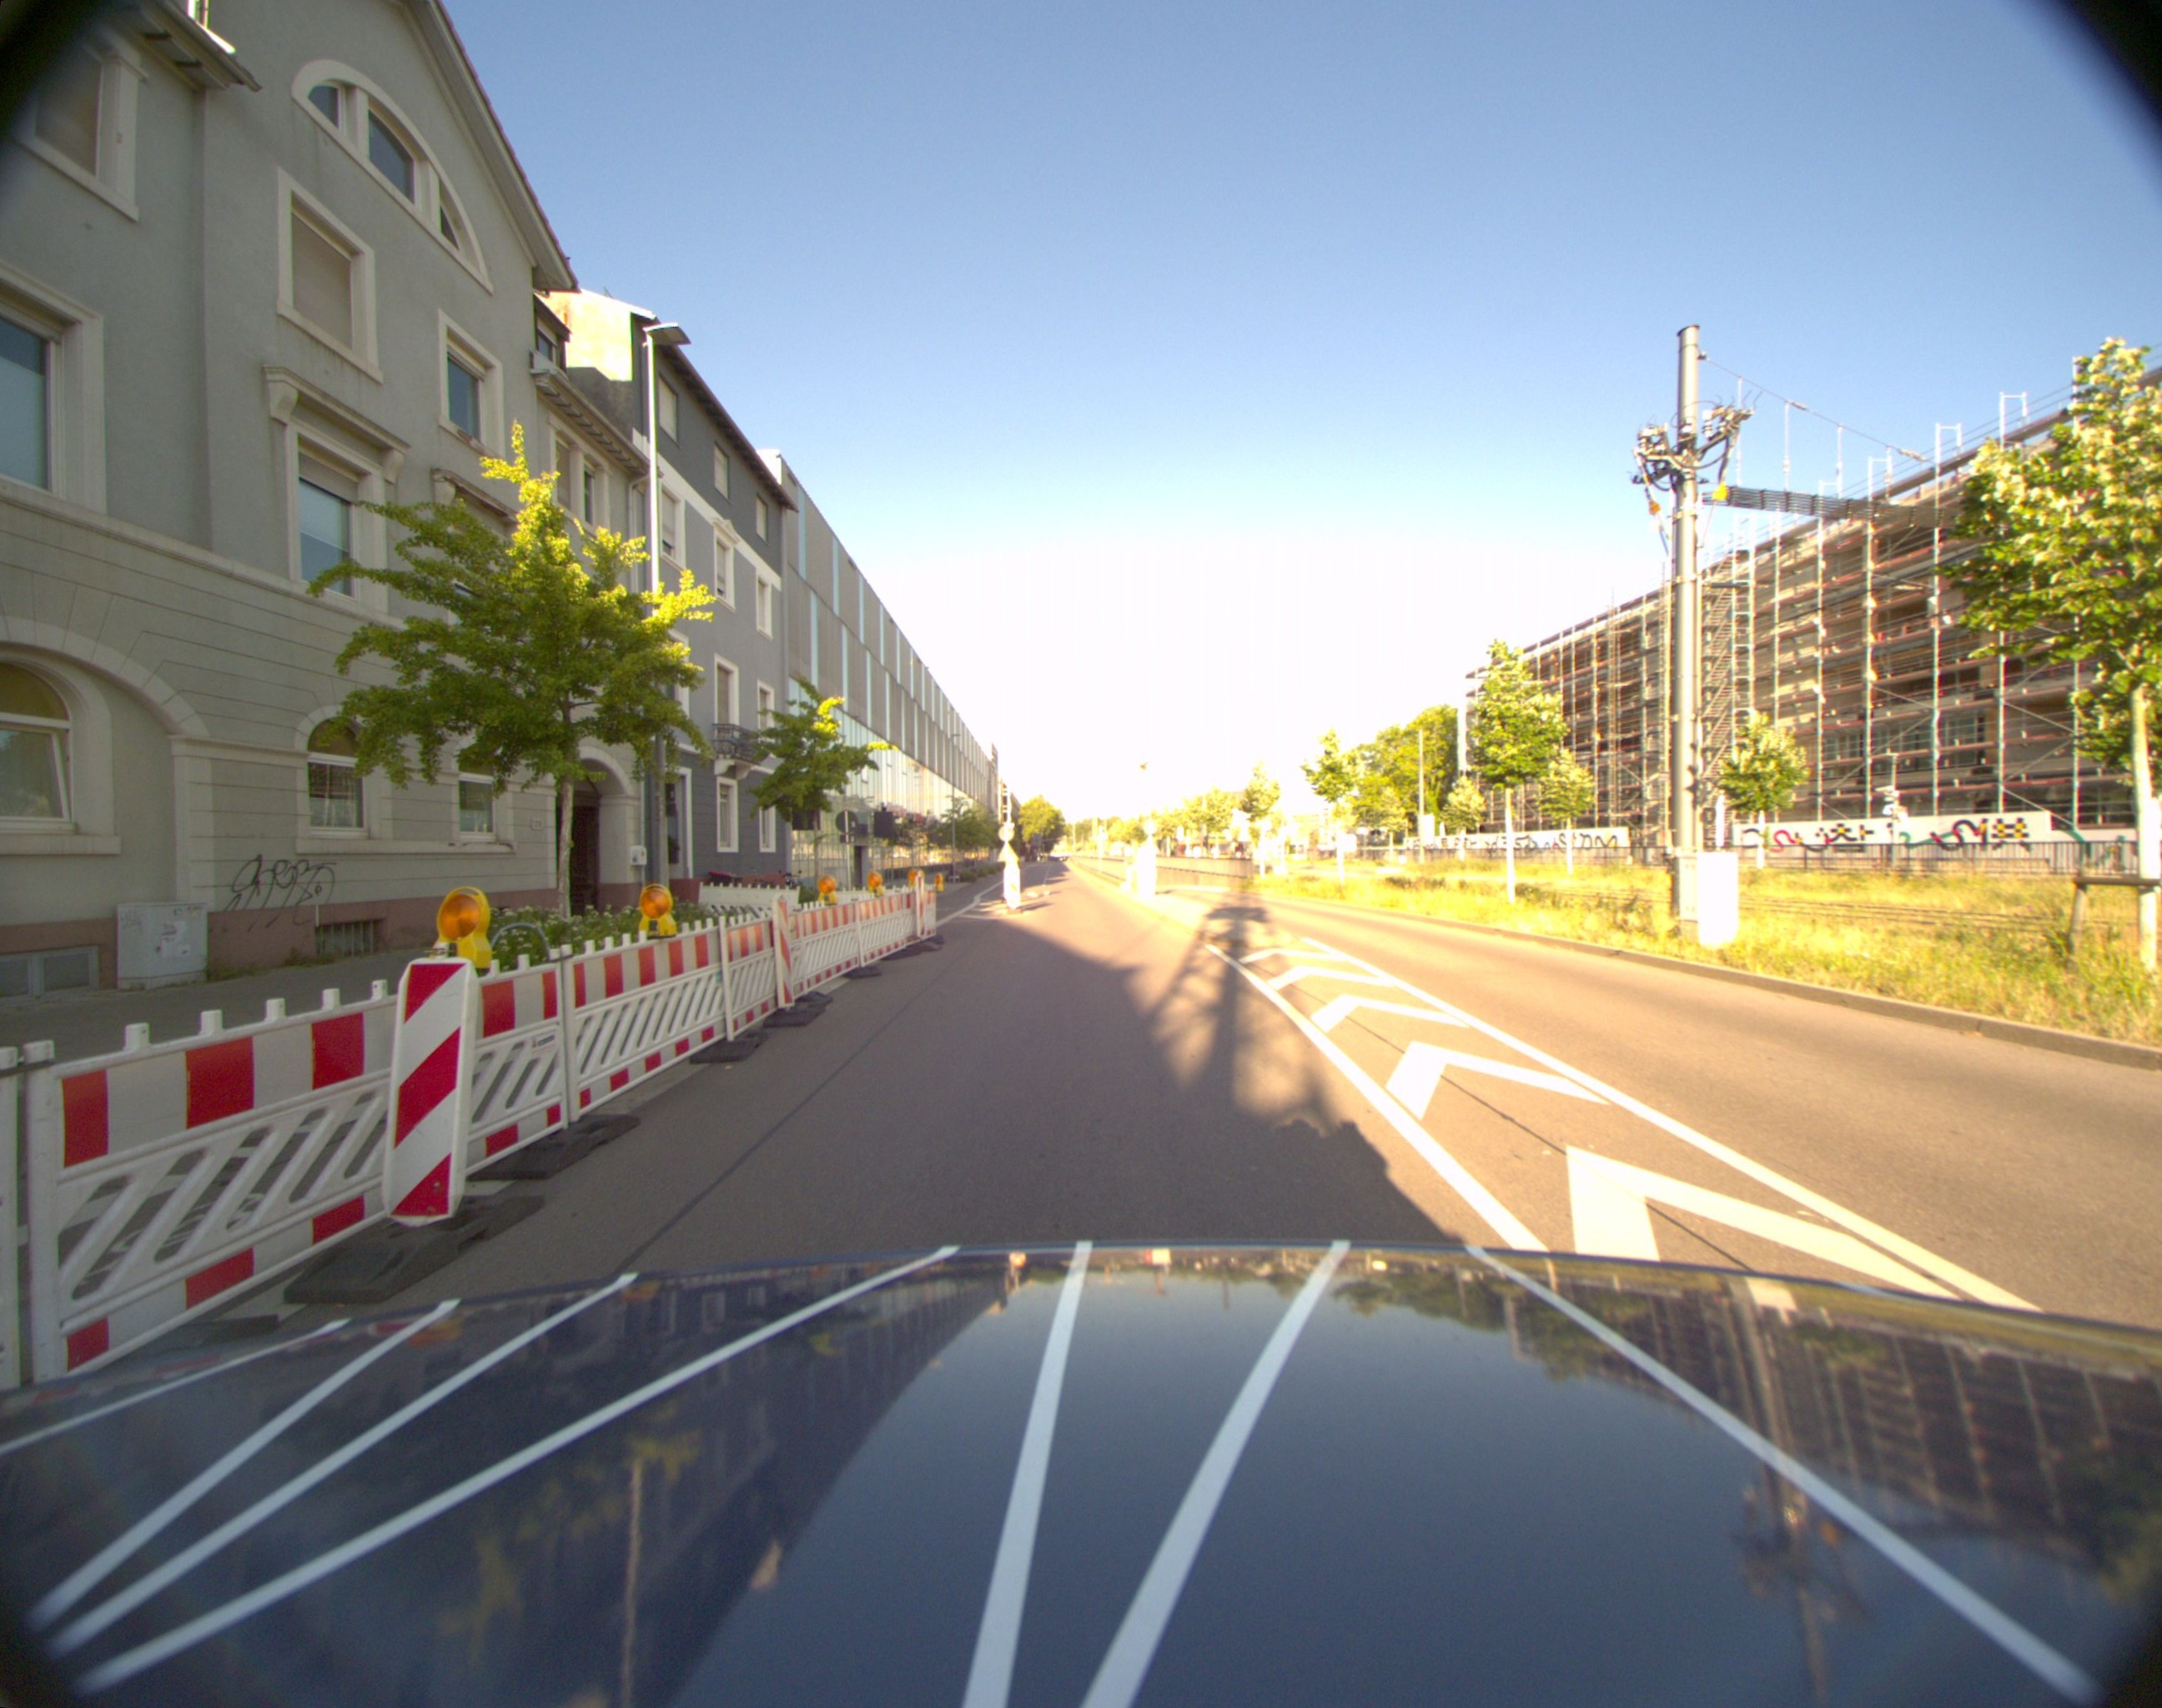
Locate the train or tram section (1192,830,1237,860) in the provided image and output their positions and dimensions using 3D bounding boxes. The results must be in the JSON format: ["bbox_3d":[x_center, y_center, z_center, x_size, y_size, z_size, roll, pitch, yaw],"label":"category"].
[{"bbox_3d":[16.317,-1.079,94.126,2.954,3.378,12.630,-2,1,-2],"label":"train or tram section"}]

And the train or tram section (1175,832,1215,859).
[{"bbox_3d":[15.987,-1.208,107.832,2.954,3.378,14.761,-2,1,-2],"label":"train or tram section"}]

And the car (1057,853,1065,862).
[{"bbox_3d":[-4.905,0.811,187.279,1.941,2.002,3.825,-1,0,-3],"label":"car"}]
